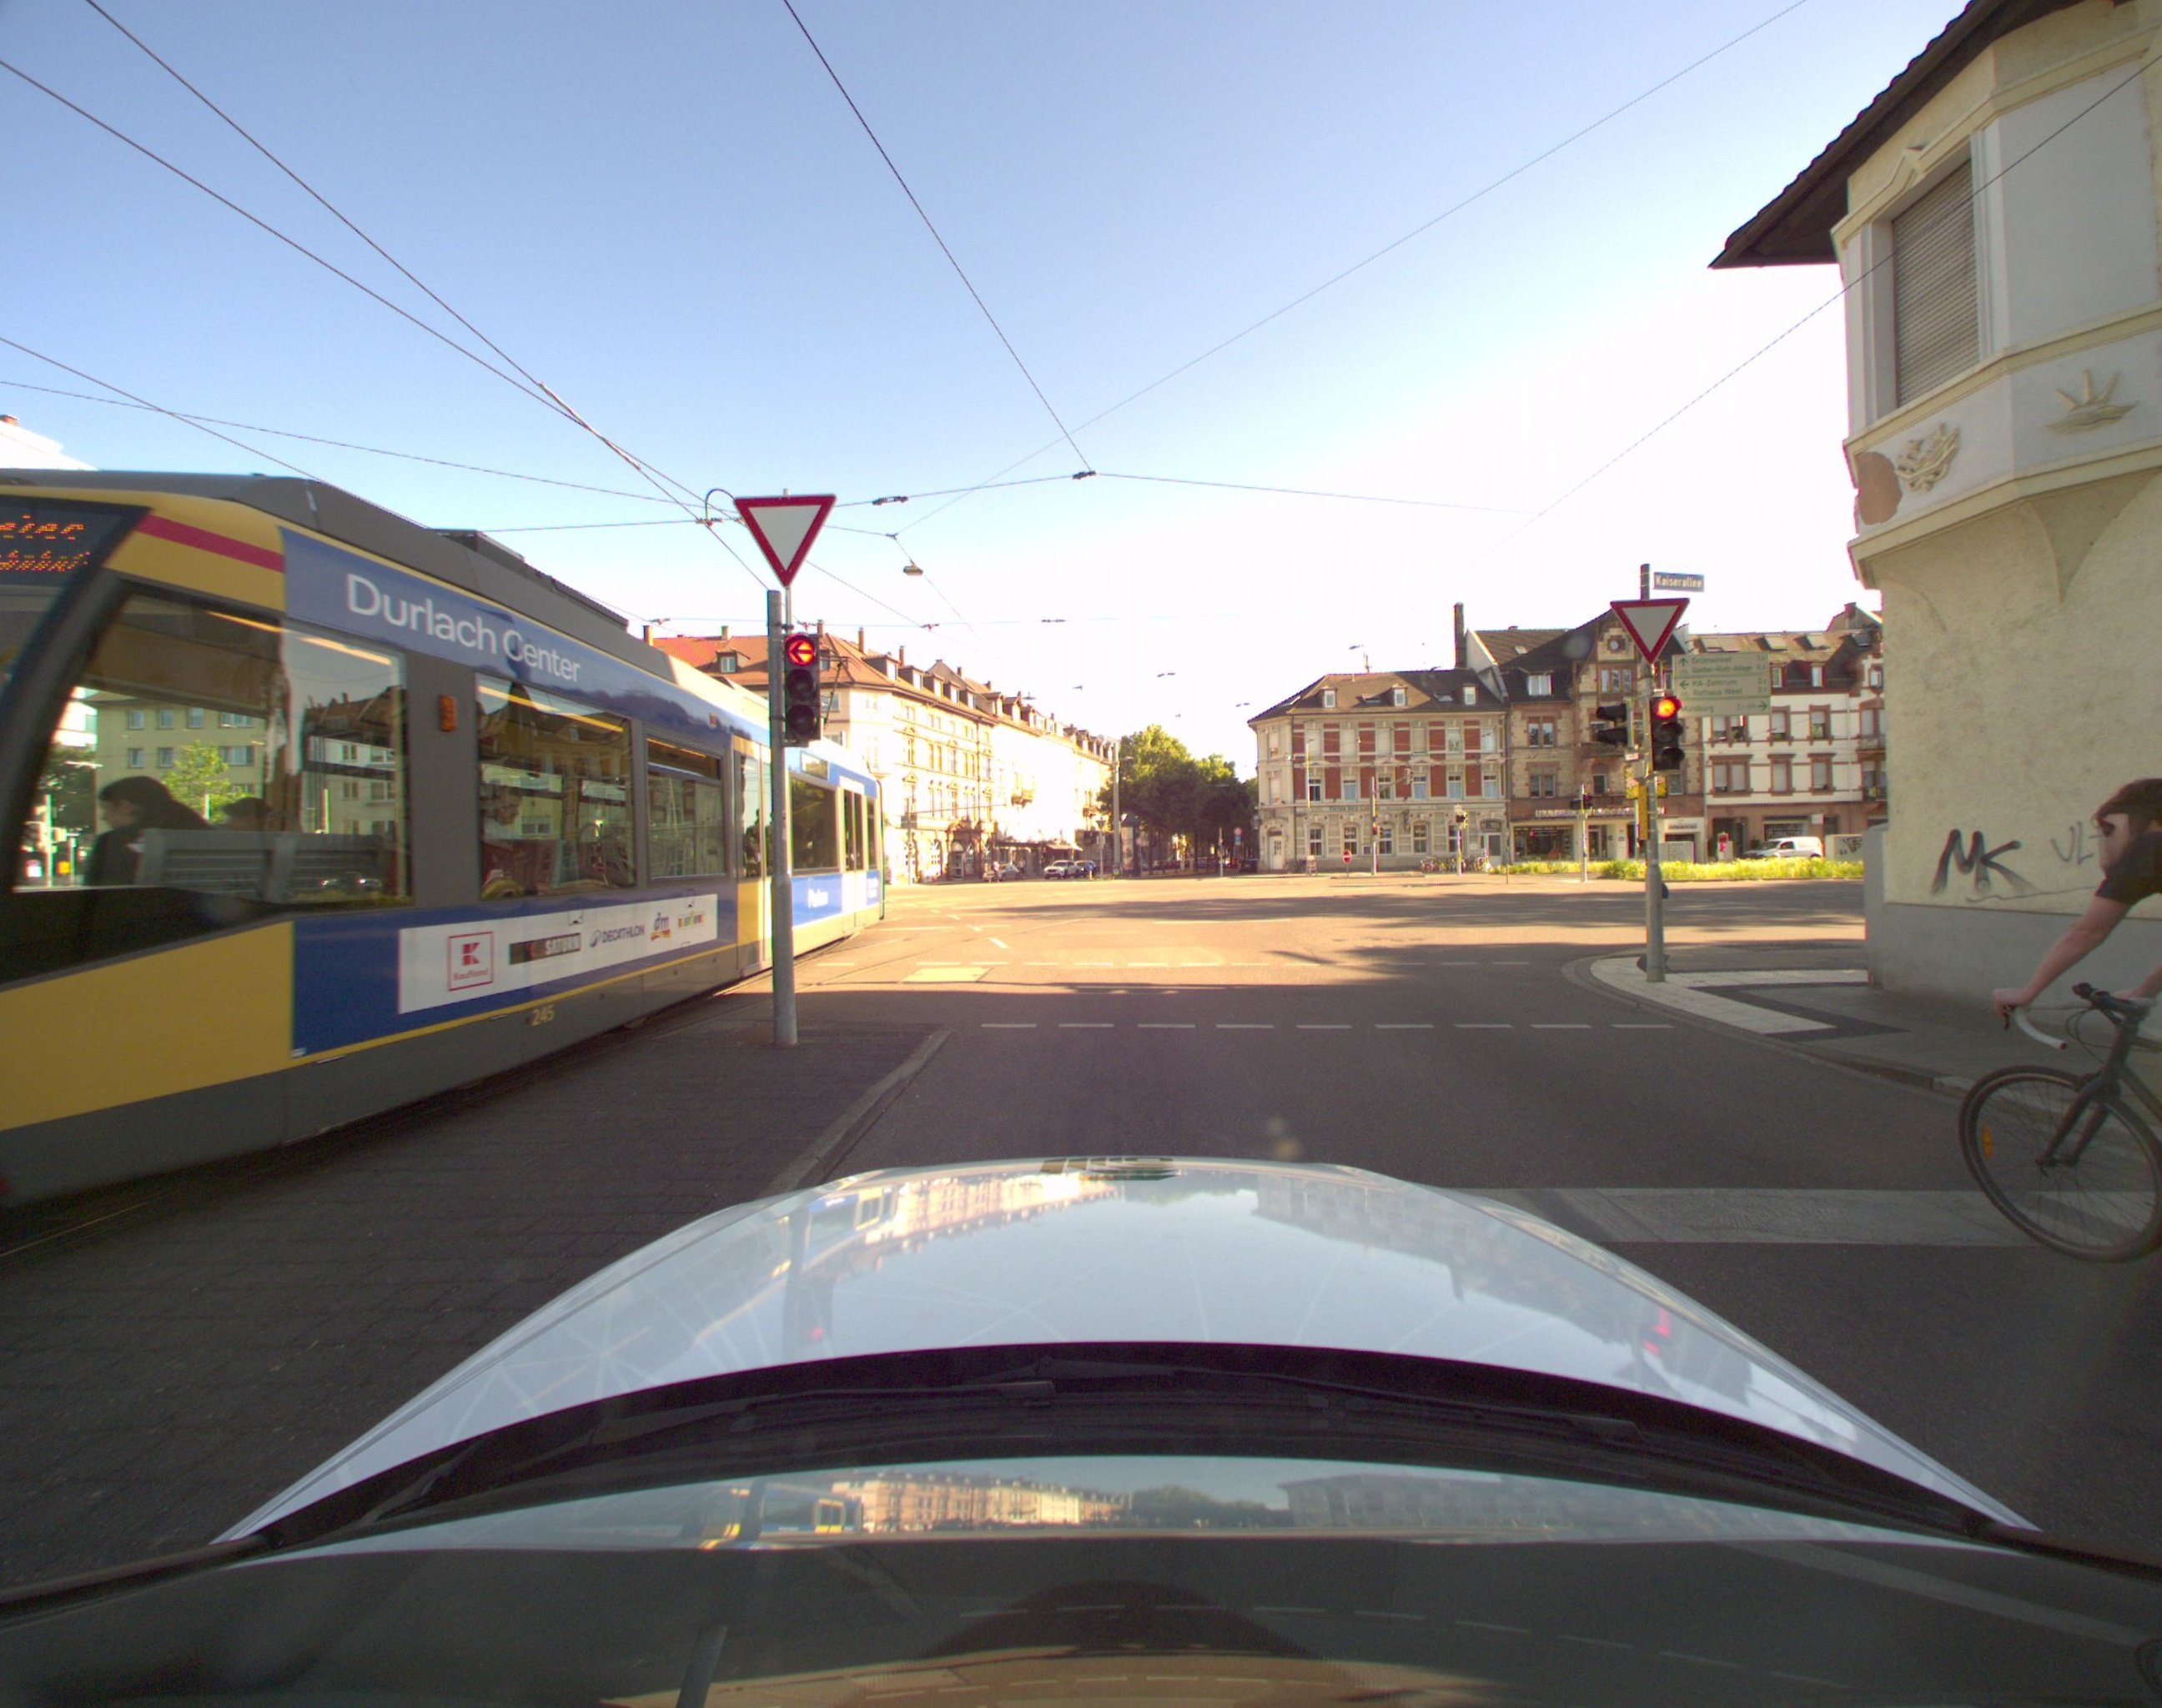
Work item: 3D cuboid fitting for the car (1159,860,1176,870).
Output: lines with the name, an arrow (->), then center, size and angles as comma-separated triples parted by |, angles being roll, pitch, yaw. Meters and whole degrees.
car -> 13.884, 1.734, 130.325 | 1.822, 1.552, 4.412 | -2, 0, 19

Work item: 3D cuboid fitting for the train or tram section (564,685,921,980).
train or tram section -> -4.903, -0.277, 14.056 | 2.807, 3.499, 8.454 | -1, 0, -2

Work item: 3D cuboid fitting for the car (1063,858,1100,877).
car -> 0.104, 1.226, 74.005 | 1.977, 1.612, 4.413 | -2, 0, 20

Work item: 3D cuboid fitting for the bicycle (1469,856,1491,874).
bicycle -> 25.748, 0.709, 52.597 | 0.606, 1.136, 2.139 | -2, 0, 7

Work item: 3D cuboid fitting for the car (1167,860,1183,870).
car -> 15.800, 1.757, 136.161 | 1.750, 1.549, 4.411 | -2, 0, 18

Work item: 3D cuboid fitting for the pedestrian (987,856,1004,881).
pedestrian -> -5.994, 1.020, 57.016 | 1.047, 1.744, 0.805 | -1, 0, -13

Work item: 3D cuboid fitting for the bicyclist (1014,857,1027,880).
bicyclist -> -4.824, 1.134, 65.327 | 0.674, 1.820, 1.075 | -2, 0, 14

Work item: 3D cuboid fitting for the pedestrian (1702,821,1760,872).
pedestrian -> 27.112, -0.292, 33.998 | 1.314, 2.044, 1.307 | -1, 0, 1

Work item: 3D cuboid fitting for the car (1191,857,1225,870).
car -> 17.950, 1.340, 115.224 | 4.335, 1.612, 2.012 | -2, 0, 28

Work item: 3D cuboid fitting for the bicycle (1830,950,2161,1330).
bicycle -> 3.620, 0.939, 2.662 | 0.642, 1.010, 1.930 | -1, 0, 4

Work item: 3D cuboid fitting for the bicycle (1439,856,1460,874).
bicycle -> 23.851, 0.690, 52.782 | 0.615, 1.143, 2.178 | -2, 0, 7

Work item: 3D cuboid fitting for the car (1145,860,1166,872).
car -> 11.228, 1.761, 122.593 | 1.977, 1.612, 4.412 | -2, 0, 20

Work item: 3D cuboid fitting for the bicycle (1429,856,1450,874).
bicycle -> 23.271, 0.709, 52.834 | 0.615, 1.143, 2.178 | -2, 0, 7

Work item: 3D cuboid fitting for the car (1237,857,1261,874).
car -> 17.000, 1.162, 82.210 | 1.978, 1.585, 4.017 | -2, 0, 16

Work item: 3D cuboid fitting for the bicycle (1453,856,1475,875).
bicycle -> 24.771, 0.729, 52.687 | 0.615, 1.143, 2.178 | -2, 0, 7

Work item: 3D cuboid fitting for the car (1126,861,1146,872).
car -> 7.510, 1.692, 110.972 | 1.978, 1.486, 4.017 | -1, 0, 16

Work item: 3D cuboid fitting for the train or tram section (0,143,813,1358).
train or tram section -> -4.601, -0.290, 5.879 | 2.807, 3.500, 7.957 | -1, 0, -2

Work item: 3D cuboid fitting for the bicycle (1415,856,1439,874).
bicycle -> 22.493, 0.718, 52.983 | 0.802, 1.143, 2.178 | -2, 0, 7

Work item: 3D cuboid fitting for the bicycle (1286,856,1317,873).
bicycle -> 15.491, 0.737, 57.184 | 2.081, 1.124, 0.366 | 0, -1, -3

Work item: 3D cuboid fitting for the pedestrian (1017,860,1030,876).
pedestrian -> -5.668, 1.349, 80.354 | 0.921, 1.535, 1.142 | -1, 0, 16

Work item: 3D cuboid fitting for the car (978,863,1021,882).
car -> -6.695, 1.524, 67.369 | 1.883, 1.455, 4.020 | -2, 0, 20

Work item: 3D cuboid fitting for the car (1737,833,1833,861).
car -> 45.352, -0.448, 52.558 | 4.317, 1.640, 2.152 | -1, 0, 1

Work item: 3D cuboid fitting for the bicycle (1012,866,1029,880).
bicycle -> -4.828, 1.515, 65.284 | 0.675, 1.066, 2.133 | -2, 0, 14

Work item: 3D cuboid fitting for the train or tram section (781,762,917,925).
train or tram section -> -6.741, -0.222, 23.591 | 2.777, 3.499, 11.962 | -1, 0, -16

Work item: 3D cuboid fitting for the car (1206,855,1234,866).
car -> 22.802, 1.011, 133.298 | 3.948, 1.706, 2.013 | -2, 0, 32

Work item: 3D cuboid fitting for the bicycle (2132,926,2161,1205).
bicycle -> 4.541, 0.849, 2.437 | 0.516, 1.116, 1.815 | -1, 0, 4

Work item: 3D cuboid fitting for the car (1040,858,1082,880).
car -> -1.619, 1.257, 67.528 | 1.977, 1.684, 4.413 | -2, 0, 20

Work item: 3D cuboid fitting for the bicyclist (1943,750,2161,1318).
bicyclist -> 3.606, 0.552, 2.585 | 0.559, 1.754, 1.102 | -1, 0, 4
